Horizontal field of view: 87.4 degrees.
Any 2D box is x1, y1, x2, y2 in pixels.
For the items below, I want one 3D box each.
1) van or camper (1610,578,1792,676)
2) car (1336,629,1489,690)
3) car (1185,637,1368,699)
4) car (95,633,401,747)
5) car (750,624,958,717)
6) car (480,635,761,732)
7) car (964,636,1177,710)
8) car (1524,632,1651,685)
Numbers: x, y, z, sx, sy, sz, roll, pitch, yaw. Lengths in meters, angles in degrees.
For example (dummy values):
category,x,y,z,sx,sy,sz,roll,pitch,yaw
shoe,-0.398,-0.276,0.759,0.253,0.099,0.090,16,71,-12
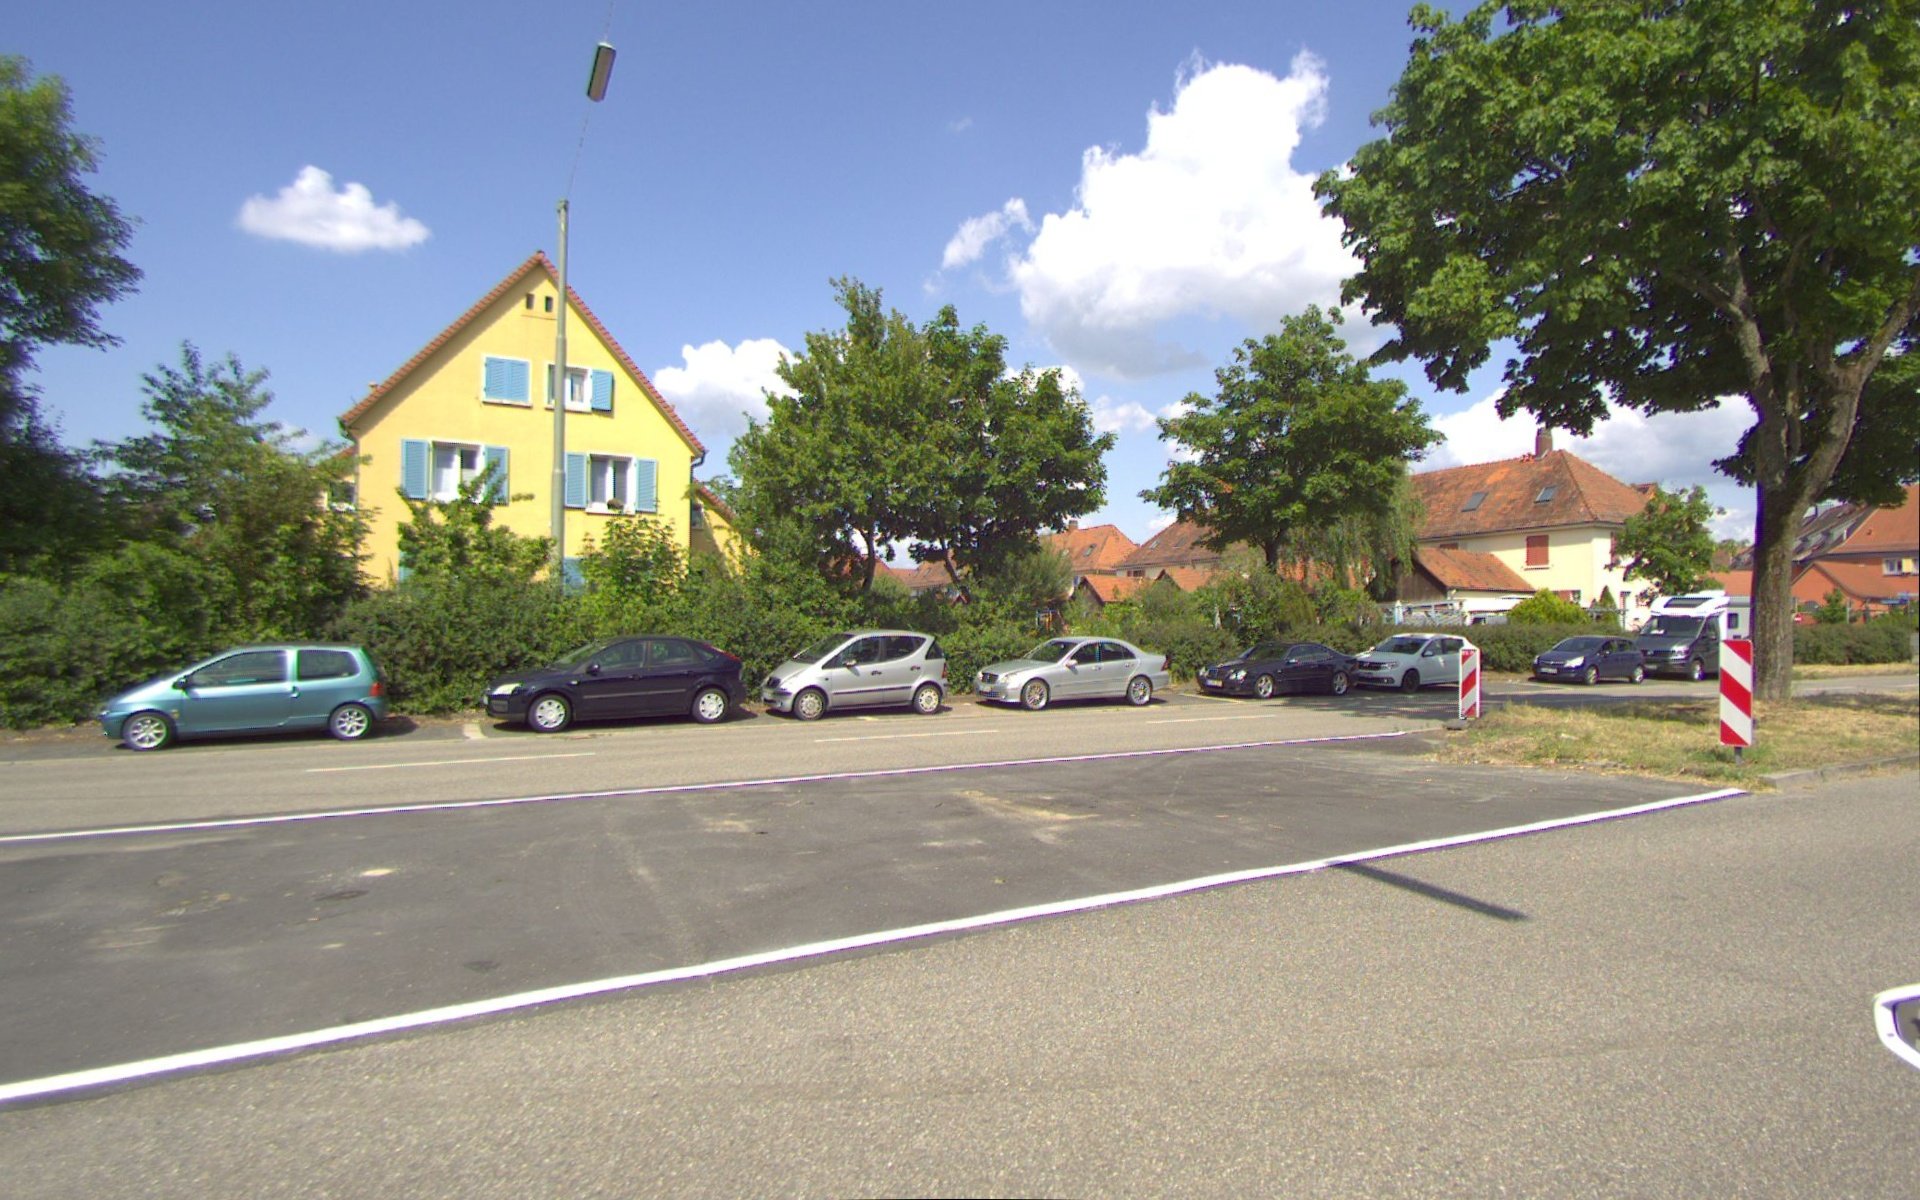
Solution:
category,x,y,z,sx,sy,sz,roll,pitch,yaw
van or camper,25.947,0.897,35.081,7.229,3.154,2.249,1,1,-29
car,12.372,1.614,27.436,4.073,1.505,1.682,2,0,-29
car,7.829,1.619,24.751,4.527,1.324,1.629,1,1,-29
car,-10.096,1.240,14.571,3.437,1.413,1.555,2,0,-30
car,-1.986,1.286,19.171,3.698,1.578,1.396,1,0,-30
car,-5.671,1.334,16.960,4.306,1.413,1.396,1,0,-30
car,2.406,1.498,21.498,4.475,1.388,1.504,1,1,-29
car,19.641,1.814,31.426,3.943,1.505,1.629,2,0,-29
